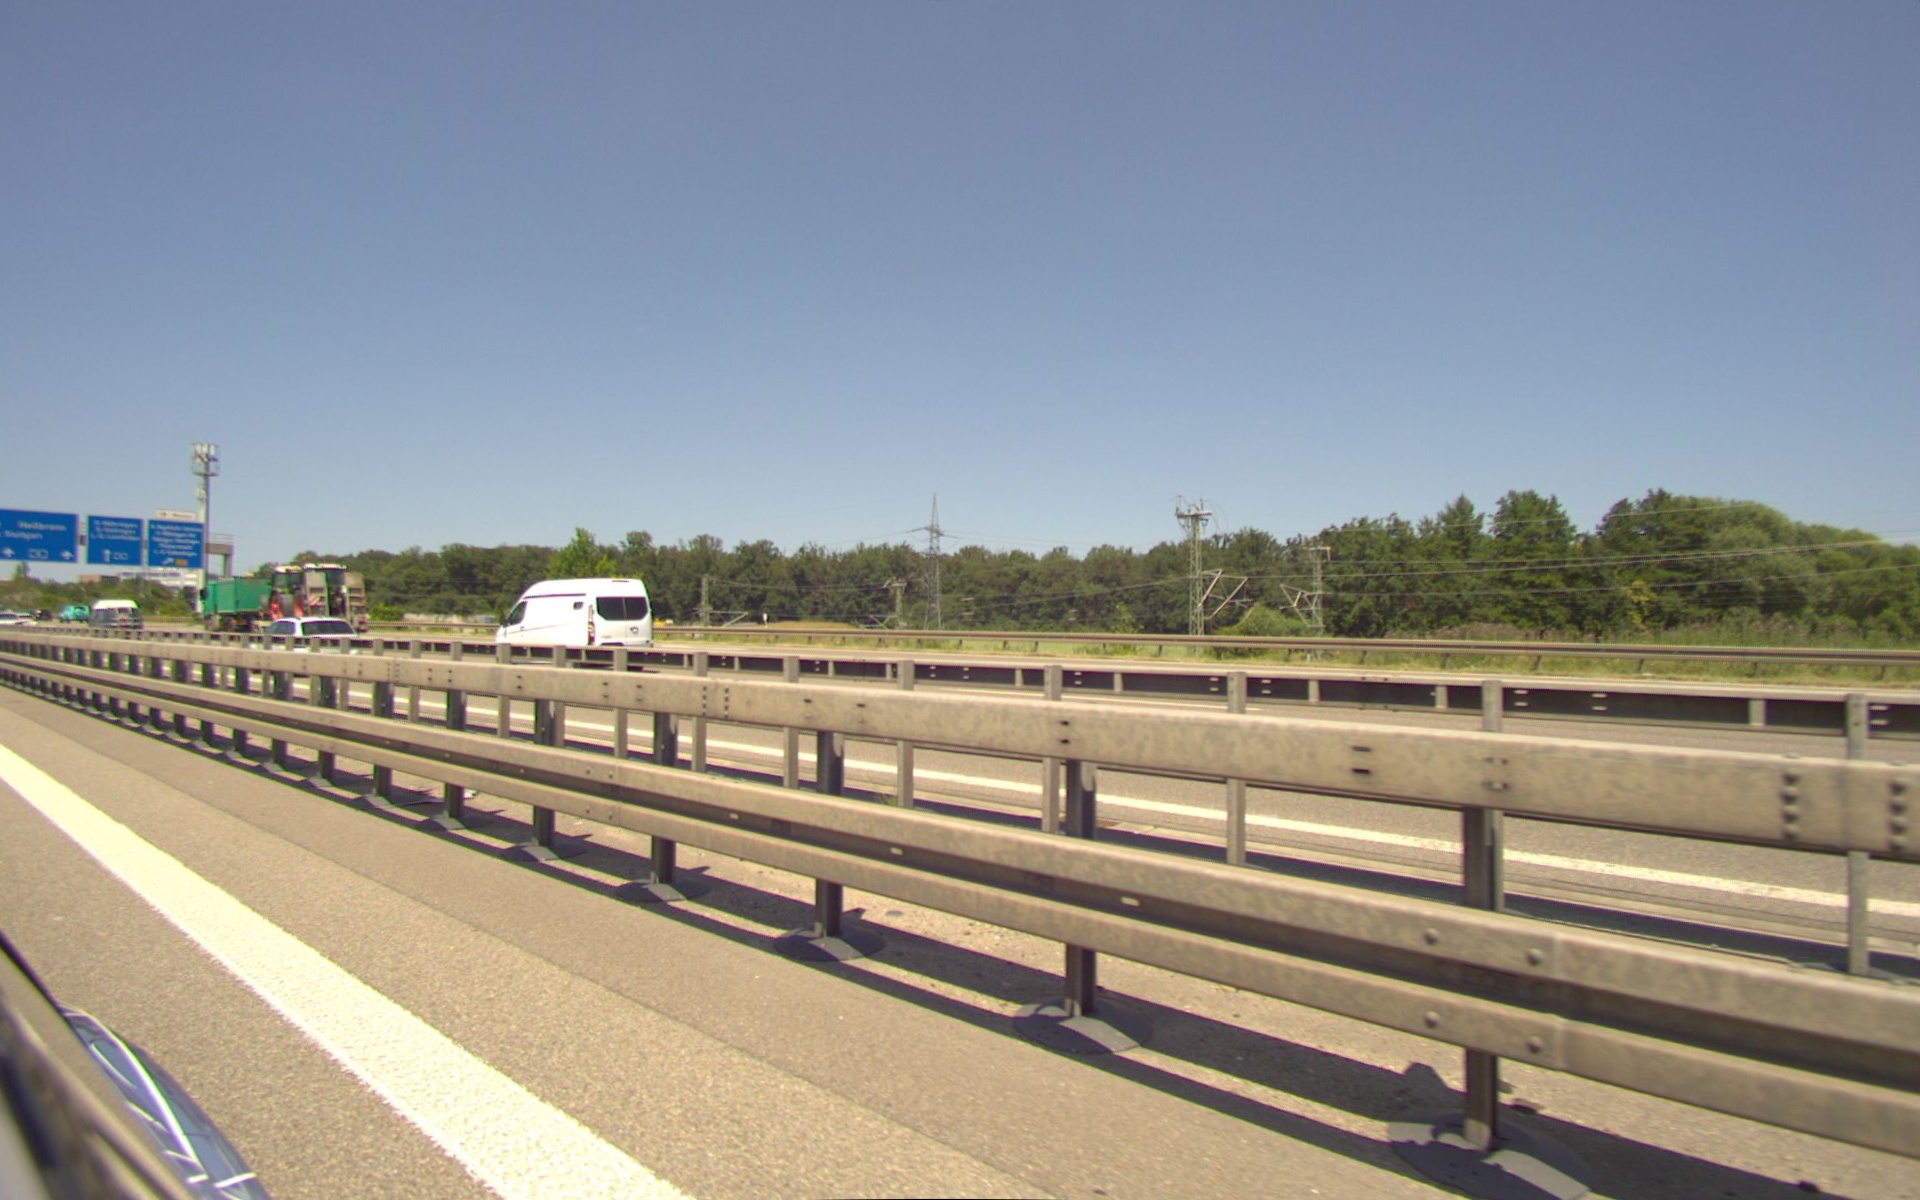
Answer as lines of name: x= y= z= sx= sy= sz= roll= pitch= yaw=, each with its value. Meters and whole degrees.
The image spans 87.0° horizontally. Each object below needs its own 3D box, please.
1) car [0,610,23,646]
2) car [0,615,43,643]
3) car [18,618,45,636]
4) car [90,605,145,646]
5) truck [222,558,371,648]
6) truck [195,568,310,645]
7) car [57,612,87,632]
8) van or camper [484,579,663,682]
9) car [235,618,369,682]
car: x=-55.170 y=1.605 z=57.994 sx=3.998 sy=2.050 sz=1.762 roll=-1 pitch=-1 yaw=41
car: x=-71.853 y=2.213 z=77.456 sx=3.998 sy=2.029 sz=1.973 roll=-1 pitch=-1 yaw=41
car: x=-110.529 y=3.204 z=120.480 sx=3.998 sy=2.029 sz=1.973 roll=-1 pitch=0 yaw=42
car: x=-46.889 y=1.397 z=56.327 sx=3.998 sy=2.198 sz=1.762 roll=-1 pitch=-1 yaw=41
truck: x=-33.249 y=0.251 z=50.394 sx=12.239 sy=4.013 sz=3.350 roll=-1 pitch=-1 yaw=43
truck: x=-38.985 y=0.402 z=55.667 sx=8.580 sy=3.953 sz=3.381 roll=-1 pitch=-1 yaw=42
car: x=-97.557 y=2.396 z=111.146 sx=3.998 sy=2.029 sz=1.973 roll=-1 pitch=0 yaw=41
van or camper: x=-9.836 y=0.740 z=25.533 sx=5.073 sy=2.358 sz=1.974 roll=-1 pitch=-1 yaw=39
car: x=-16.848 y=1.225 z=25.866 sx=3.996 sy=1.477 sz=1.763 roll=-1 pitch=0 yaw=40
